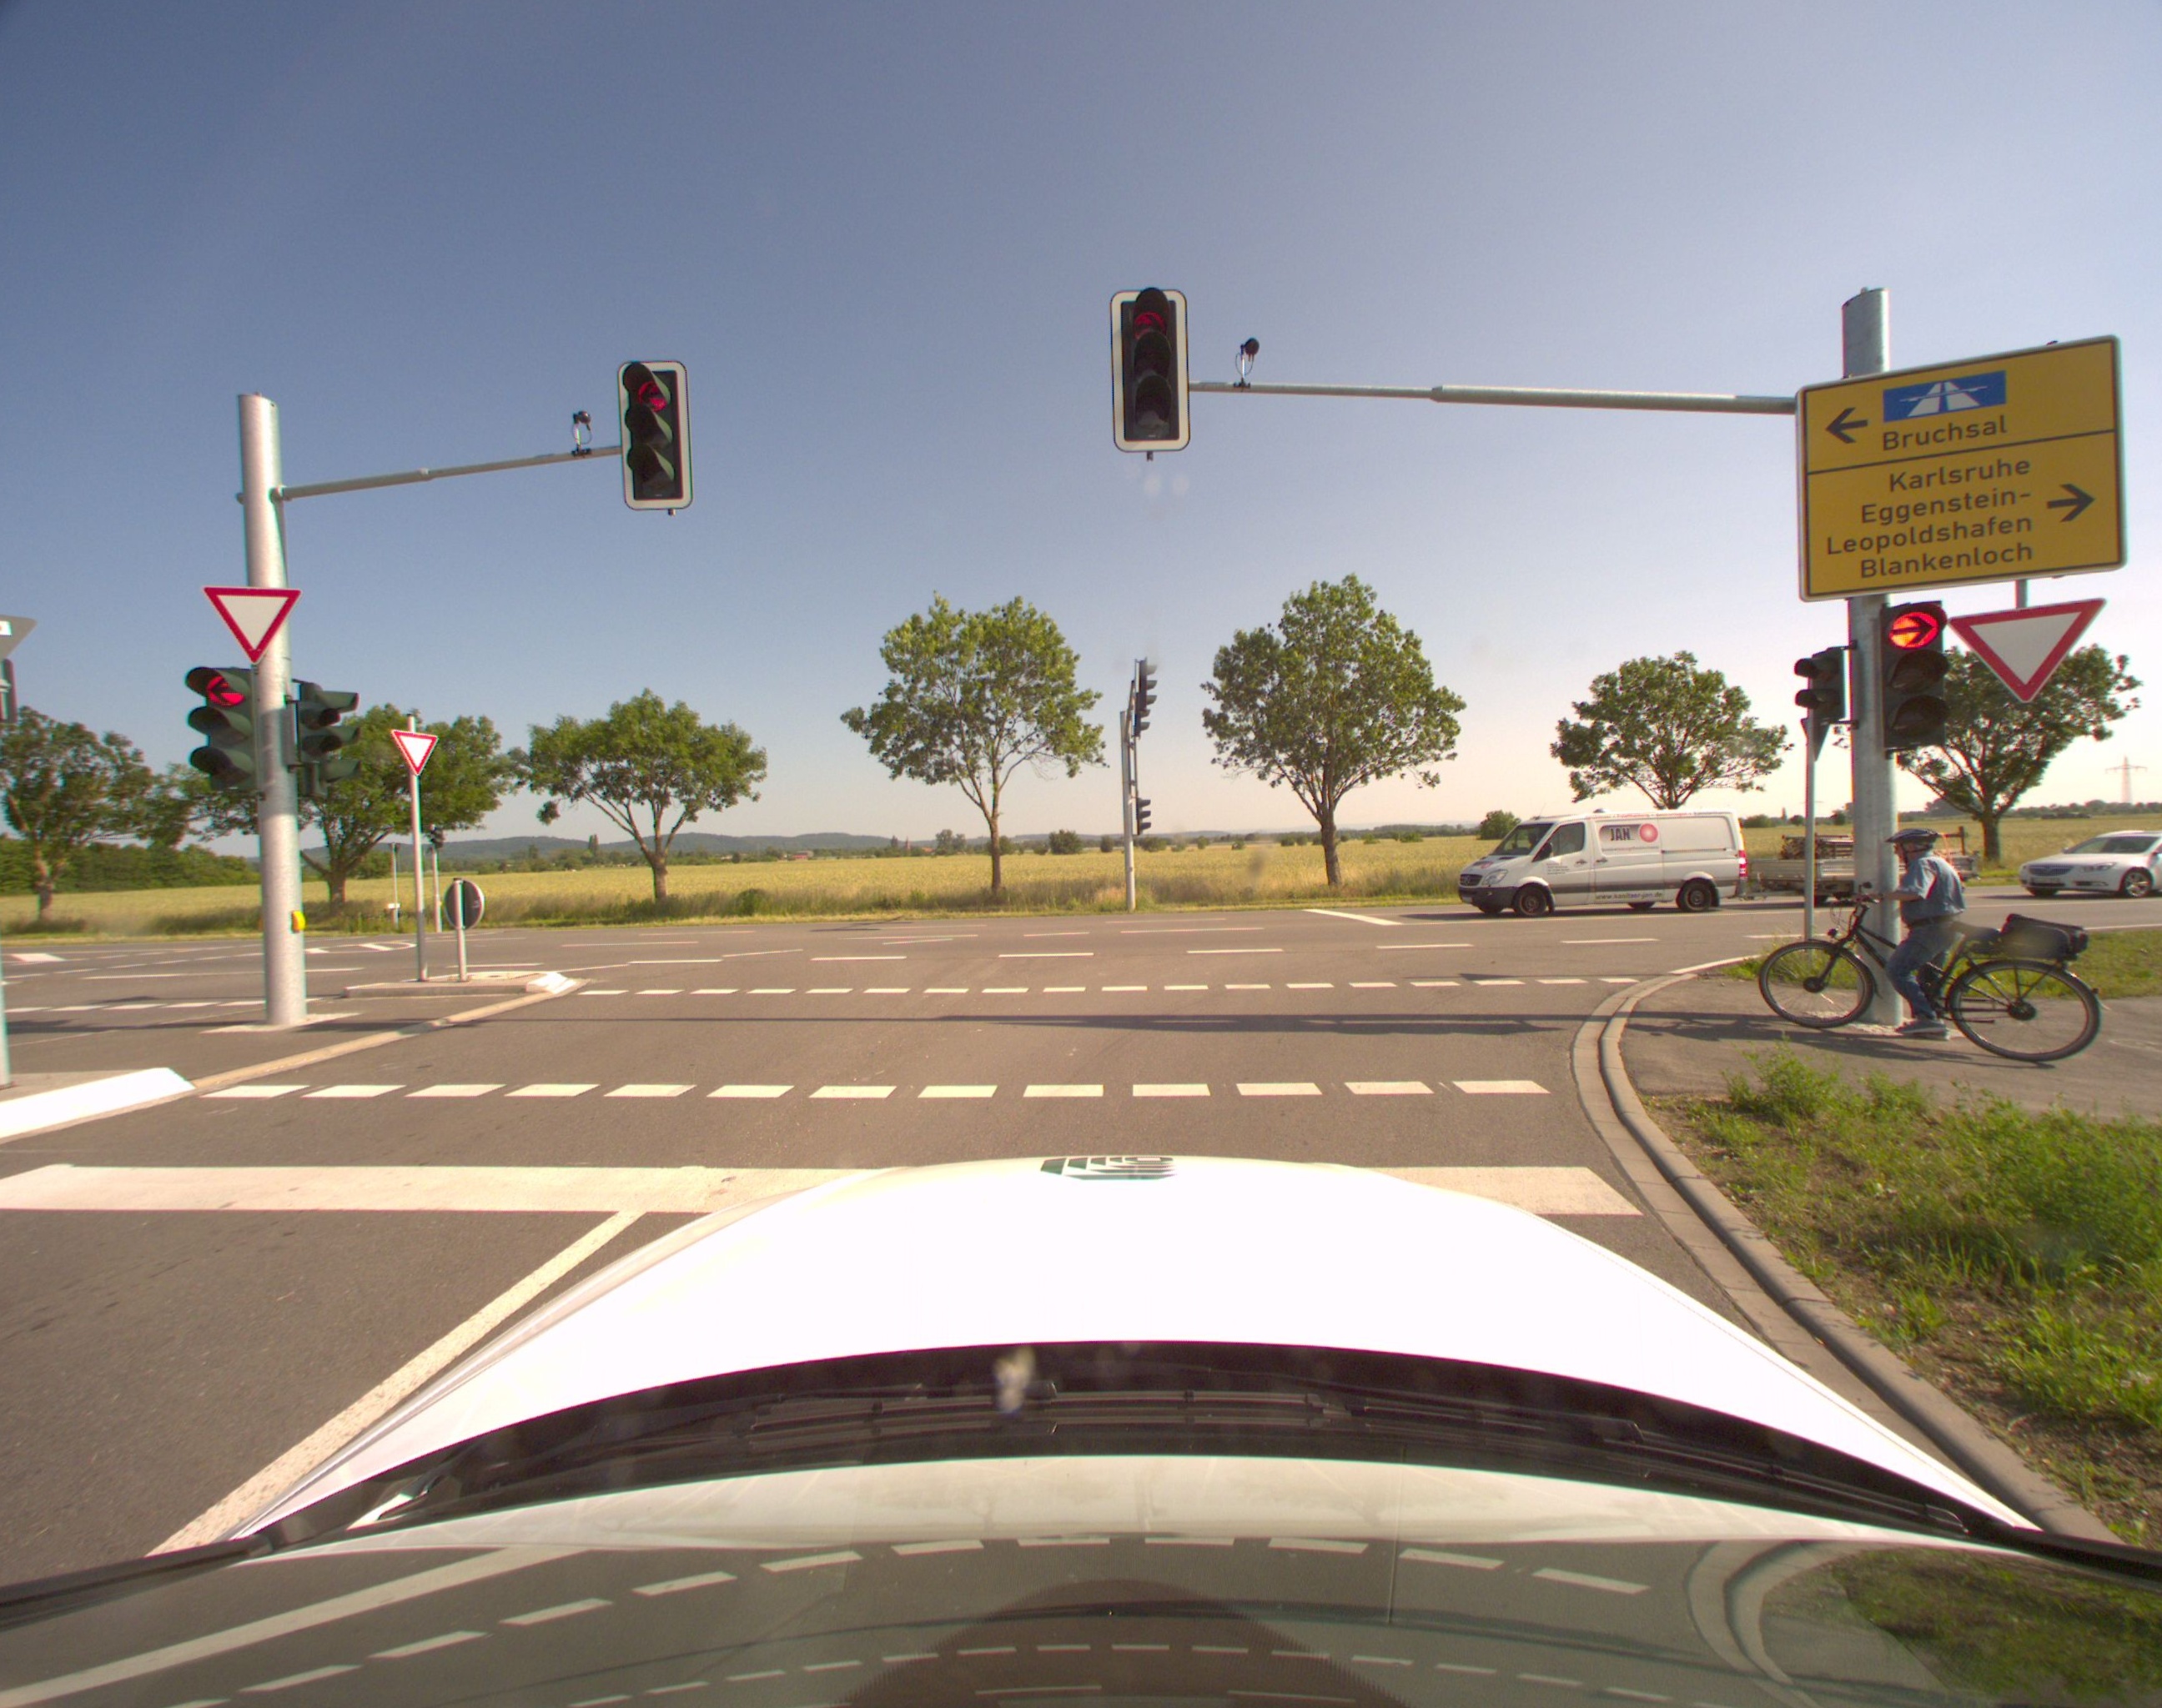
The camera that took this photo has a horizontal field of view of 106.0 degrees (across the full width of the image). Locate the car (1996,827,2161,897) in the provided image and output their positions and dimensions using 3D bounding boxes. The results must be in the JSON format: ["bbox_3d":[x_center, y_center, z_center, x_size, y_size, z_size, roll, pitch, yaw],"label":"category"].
[{"bbox_3d":[24.581,0.134,18.989,4.682,1.492,1.763,-2,-1,-3],"label":"car"}]

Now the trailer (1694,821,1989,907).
[{"bbox_3d":[17.396,0.236,18.809,4.980,1.738,1.980,-2,-1,-1],"label":"trailer"}]

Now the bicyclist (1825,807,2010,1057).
[{"bbox_3d":[6.402,0.534,6.268,0.623,1.765,0.906,0,1,-44],"label":"bicyclist"}]

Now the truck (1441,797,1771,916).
[{"bbox_3d":[11.821,0.066,18.667,6.157,2.405,2.071,-2,-1,0],"label":"truck"}]

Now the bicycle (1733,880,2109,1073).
[{"bbox_3d":[6.348,0.842,6.310,0.685,1.151,1.922,0,2,-44],"label":"bicycle"}]
